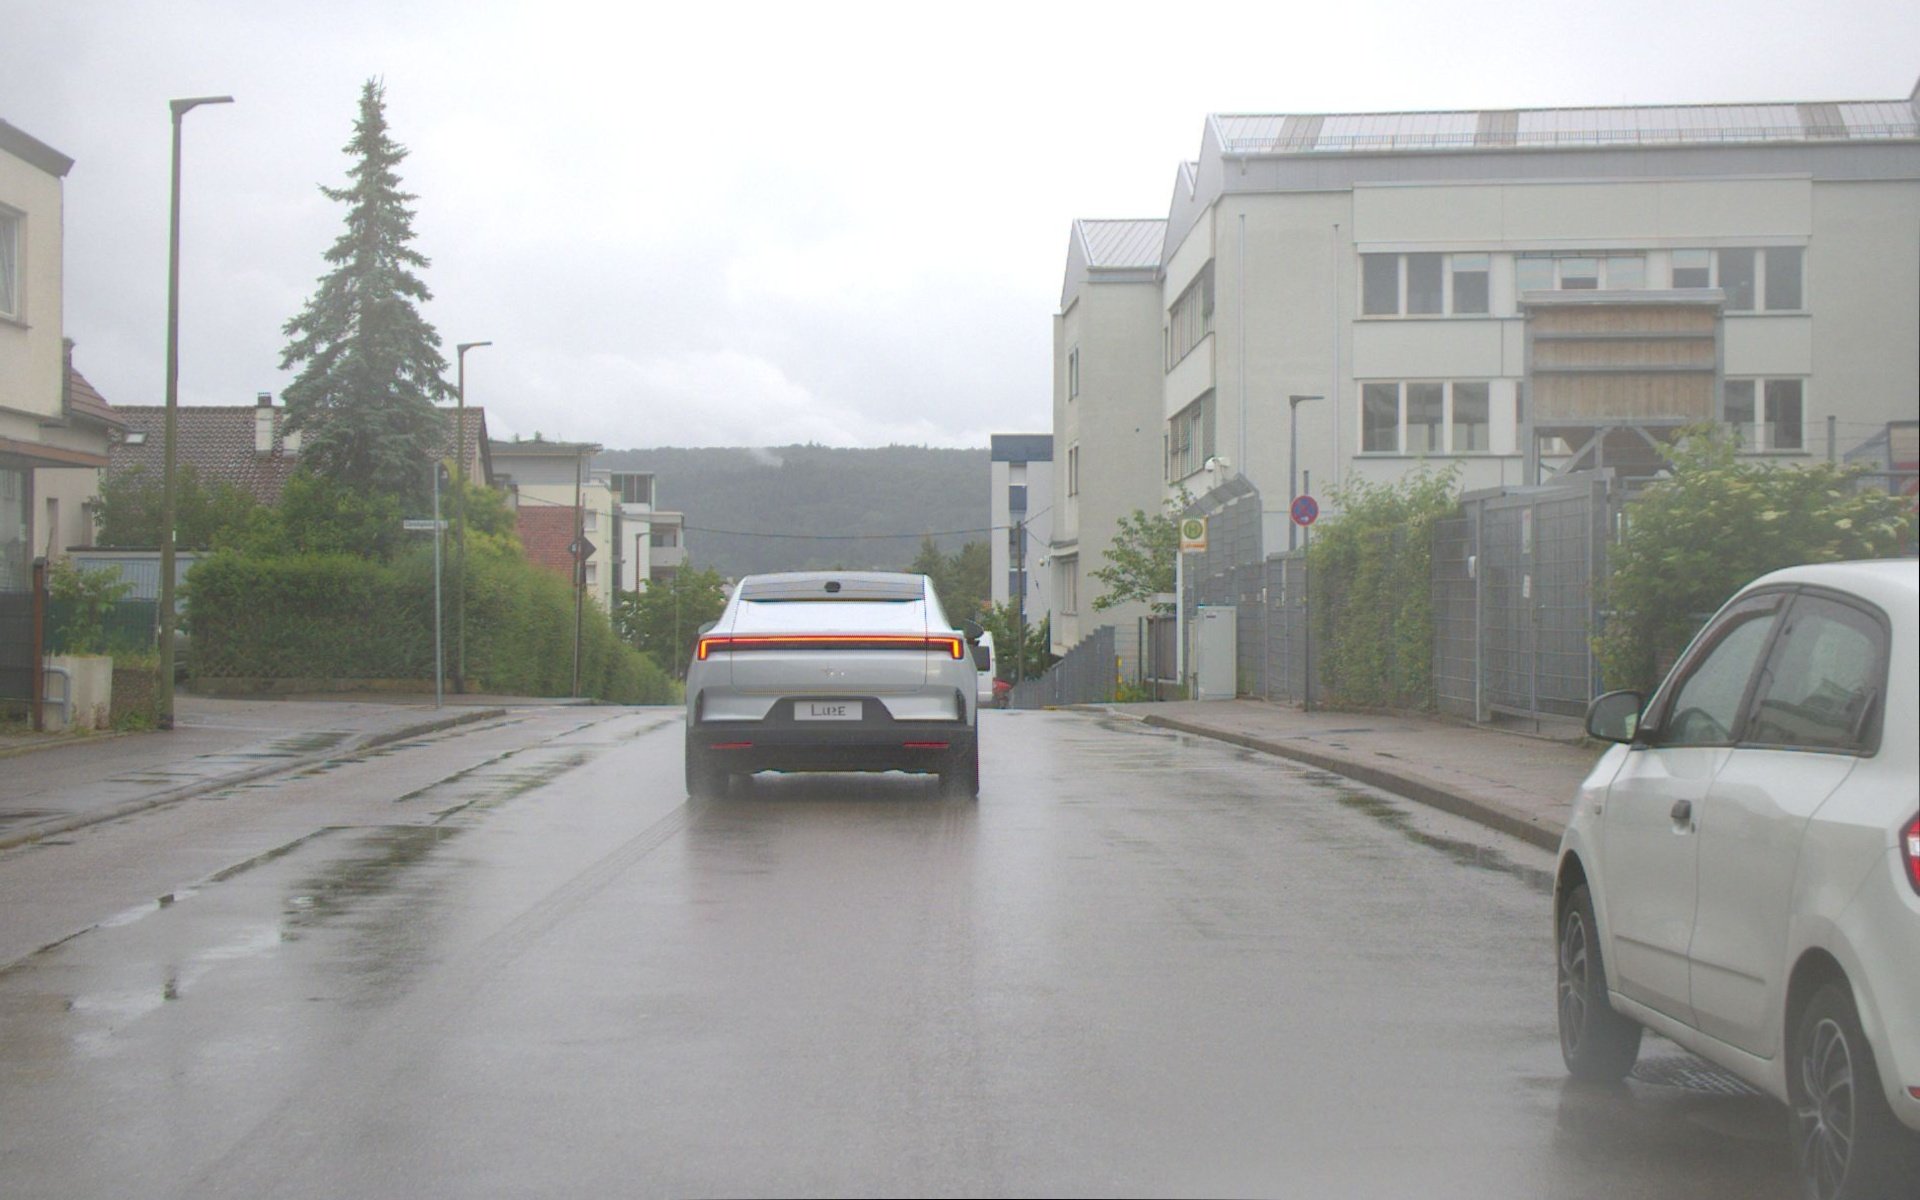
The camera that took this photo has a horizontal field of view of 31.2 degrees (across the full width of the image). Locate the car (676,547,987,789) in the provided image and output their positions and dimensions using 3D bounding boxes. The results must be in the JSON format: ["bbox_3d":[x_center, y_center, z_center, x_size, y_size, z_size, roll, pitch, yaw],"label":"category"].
[{"bbox_3d":[-0.899,0.405,24.442,1.993,1.497,4.670,0,1,-2],"label":"car"}]

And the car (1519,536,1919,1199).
[{"bbox_3d":[2.685,0.626,9.048,1.681,1.552,3.675,1,1,-2],"label":"car"}]

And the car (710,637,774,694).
[{"bbox_3d":[-6.027,1.807,95.328,1.675,1.522,4.000,0,0,-2],"label":"car"}]

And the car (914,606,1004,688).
[{"bbox_3d":[-0.042,1.256,90.247,1.993,2.007,4.000,-1,-2,-5],"label":"car"}]
